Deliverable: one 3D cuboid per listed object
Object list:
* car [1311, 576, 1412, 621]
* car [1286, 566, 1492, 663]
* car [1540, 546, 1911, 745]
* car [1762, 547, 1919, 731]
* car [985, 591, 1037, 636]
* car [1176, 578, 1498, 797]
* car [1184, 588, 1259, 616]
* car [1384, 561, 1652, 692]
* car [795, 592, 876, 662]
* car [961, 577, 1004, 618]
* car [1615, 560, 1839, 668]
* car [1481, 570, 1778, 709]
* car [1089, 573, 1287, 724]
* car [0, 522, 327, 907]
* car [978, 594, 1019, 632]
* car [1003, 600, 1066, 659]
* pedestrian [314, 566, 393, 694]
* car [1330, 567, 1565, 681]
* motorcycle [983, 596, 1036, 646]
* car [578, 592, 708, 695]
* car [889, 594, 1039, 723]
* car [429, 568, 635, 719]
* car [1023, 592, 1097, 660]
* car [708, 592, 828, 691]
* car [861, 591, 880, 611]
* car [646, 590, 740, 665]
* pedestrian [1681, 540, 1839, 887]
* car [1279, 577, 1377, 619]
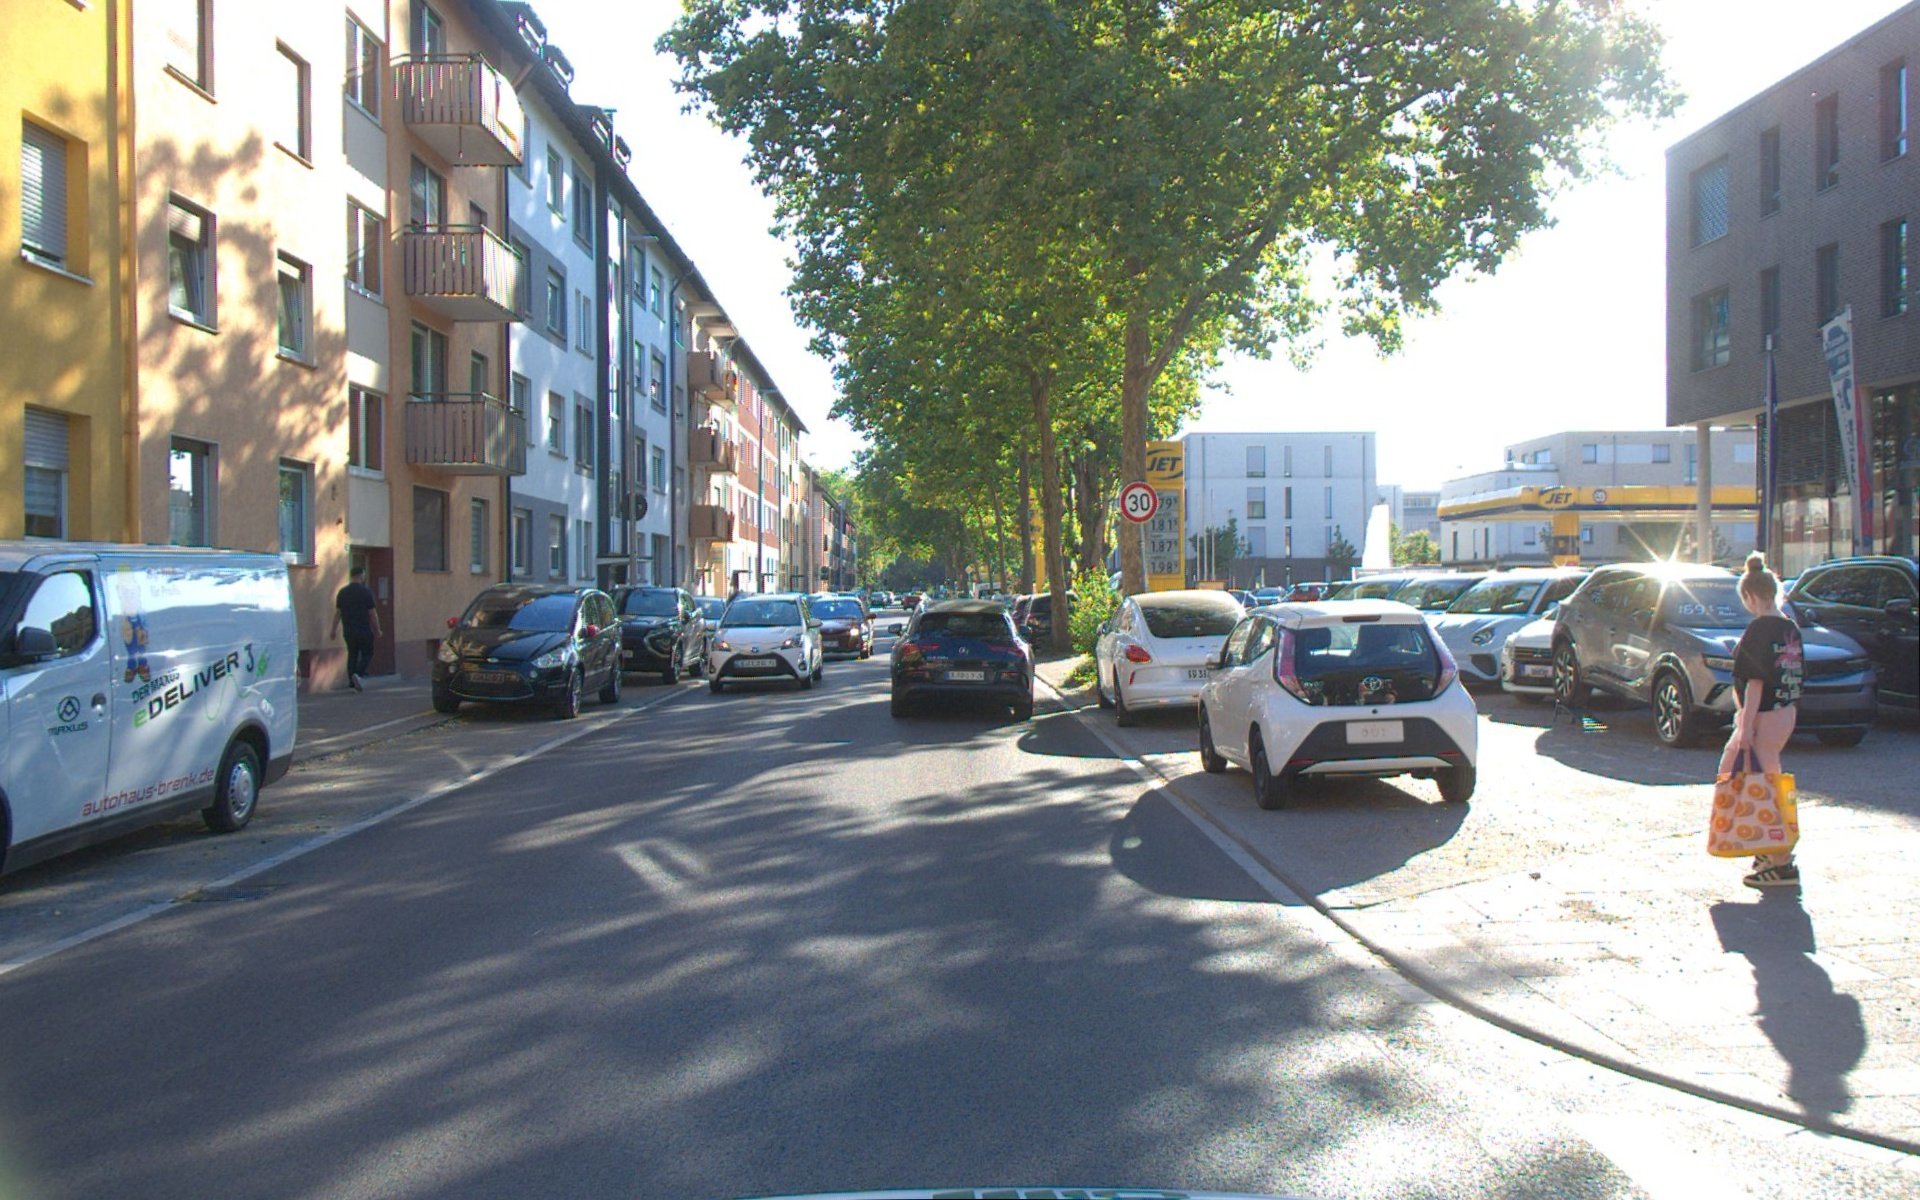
[{"bbox_3d":[16.405,-0.067,67.571,3.782,1.741,1.824,-1,0,-28],"label":"car"},{"bbox_3d":[7.899,0.224,30.319,3.781,1.606,1.722,-2,1,-38],"label":"car"},{"bbox_3d":[7.376,0.381,16.442,1.716,1.699,4.157,-1,0,-1],"label":"car"},{"bbox_3d":[10.059,0.358,16.550,1.789,1.762,4.366,-1,0,-3],"label":"car"},{"bbox_3d":[1.846,0.484,61.254,1.687,1.585,3.599,1,0,-2],"label":"car"},{"bbox_3d":[2.946,0.634,13.766,1.602,1.493,4.019,-2,0,-2],"label":"car"},{"bbox_3d":[14.905,0.128,94.384,3.907,1.556,1.806,0,-1,-3],"label":"car"},{"bbox_3d":[7.868,0.320,23.226,3.778,1.638,1.719,-2,1,-36],"label":"car"},{"bbox_3d":[-2.959,0.605,40.085,1.630,1.550,4.411,-2,0,-1],"label":"car"},{"bbox_3d":[1.148,-0.108,86.525,1.954,2.049,3.996,0,-1,-4],"label":"car"},{"bbox_3d":[12.239,0.180,26.314,3.778,1.537,1.622,-2,1,-36],"label":"car"},{"bbox_3d":[8.413,0.433,20.693,3.774,1.572,1.643,-1,0,-34],"label":"car"},{"bbox_3d":[2.694,0.549,20.565,1.773,1.565,4.583,-3,0,0],"label":"car"},{"bbox_3d":[-5.671,0.560,9.951,1.698,1.940,5.209,0,0,0],"label":"car"},{"bbox_3d":[1.704,0.571,73.473,1.600,1.585,3.599,1,0,-2],"label":"car"},{"bbox_3d":[2.125,0.824,47.765,1.528,1.624,3.599,1,0,-2],"label":"car"},{"bbox_3d":[-8.811,0.422,24.048,0.750,1.800,0.933,2,0,-1],"label":"pedestrian"},{"bbox_3d":[7.783,0.332,26.300,3.781,1.606,1.717,-2,1,-38],"label":"car"},{"bbox_3d":[1.626,0.681,54.019,1.619,1.585,0.607,1,-1,-23],"label":"motorcycle"},{"bbox_3d":[-5.593,0.709,29.624,1.564,1.669,4.411,1,0,-2],"label":"car"},{"bbox_3d":[0.136,0.675,21.395,1.708,1.468,3.970,1,0,3],"label":"car"},{"bbox_3d":[-5.692,0.522,22.531,1.710,1.819,4.548,1,0,-2],"label":"car"},{"bbox_3d":[2.505,0.639,41.940,1.528,1.624,3.599,1,0,-2],"label":"car"},{"bbox_3d":[-3.171,0.635,27.908,1.606,1.550,3.933,0,0,-1],"label":"car"},{"bbox_3d":[-9.165,0.146,170.119,1.868,1.982,3.998,0,-1,-2],"label":"car"},{"bbox_3d":[-5.847,0.565,36.581,1.516,1.550,4.004,1,0,-2],"label":"car"},{"bbox_3d":[4.275,0.572,8.828,0.679,1.753,0.720,-1,0,31],"label":"pedestrian"},{"bbox_3d":[16.095,-0.107,72.396,3.767,1.741,1.831,-1,0,-19],"label":"car"}]
